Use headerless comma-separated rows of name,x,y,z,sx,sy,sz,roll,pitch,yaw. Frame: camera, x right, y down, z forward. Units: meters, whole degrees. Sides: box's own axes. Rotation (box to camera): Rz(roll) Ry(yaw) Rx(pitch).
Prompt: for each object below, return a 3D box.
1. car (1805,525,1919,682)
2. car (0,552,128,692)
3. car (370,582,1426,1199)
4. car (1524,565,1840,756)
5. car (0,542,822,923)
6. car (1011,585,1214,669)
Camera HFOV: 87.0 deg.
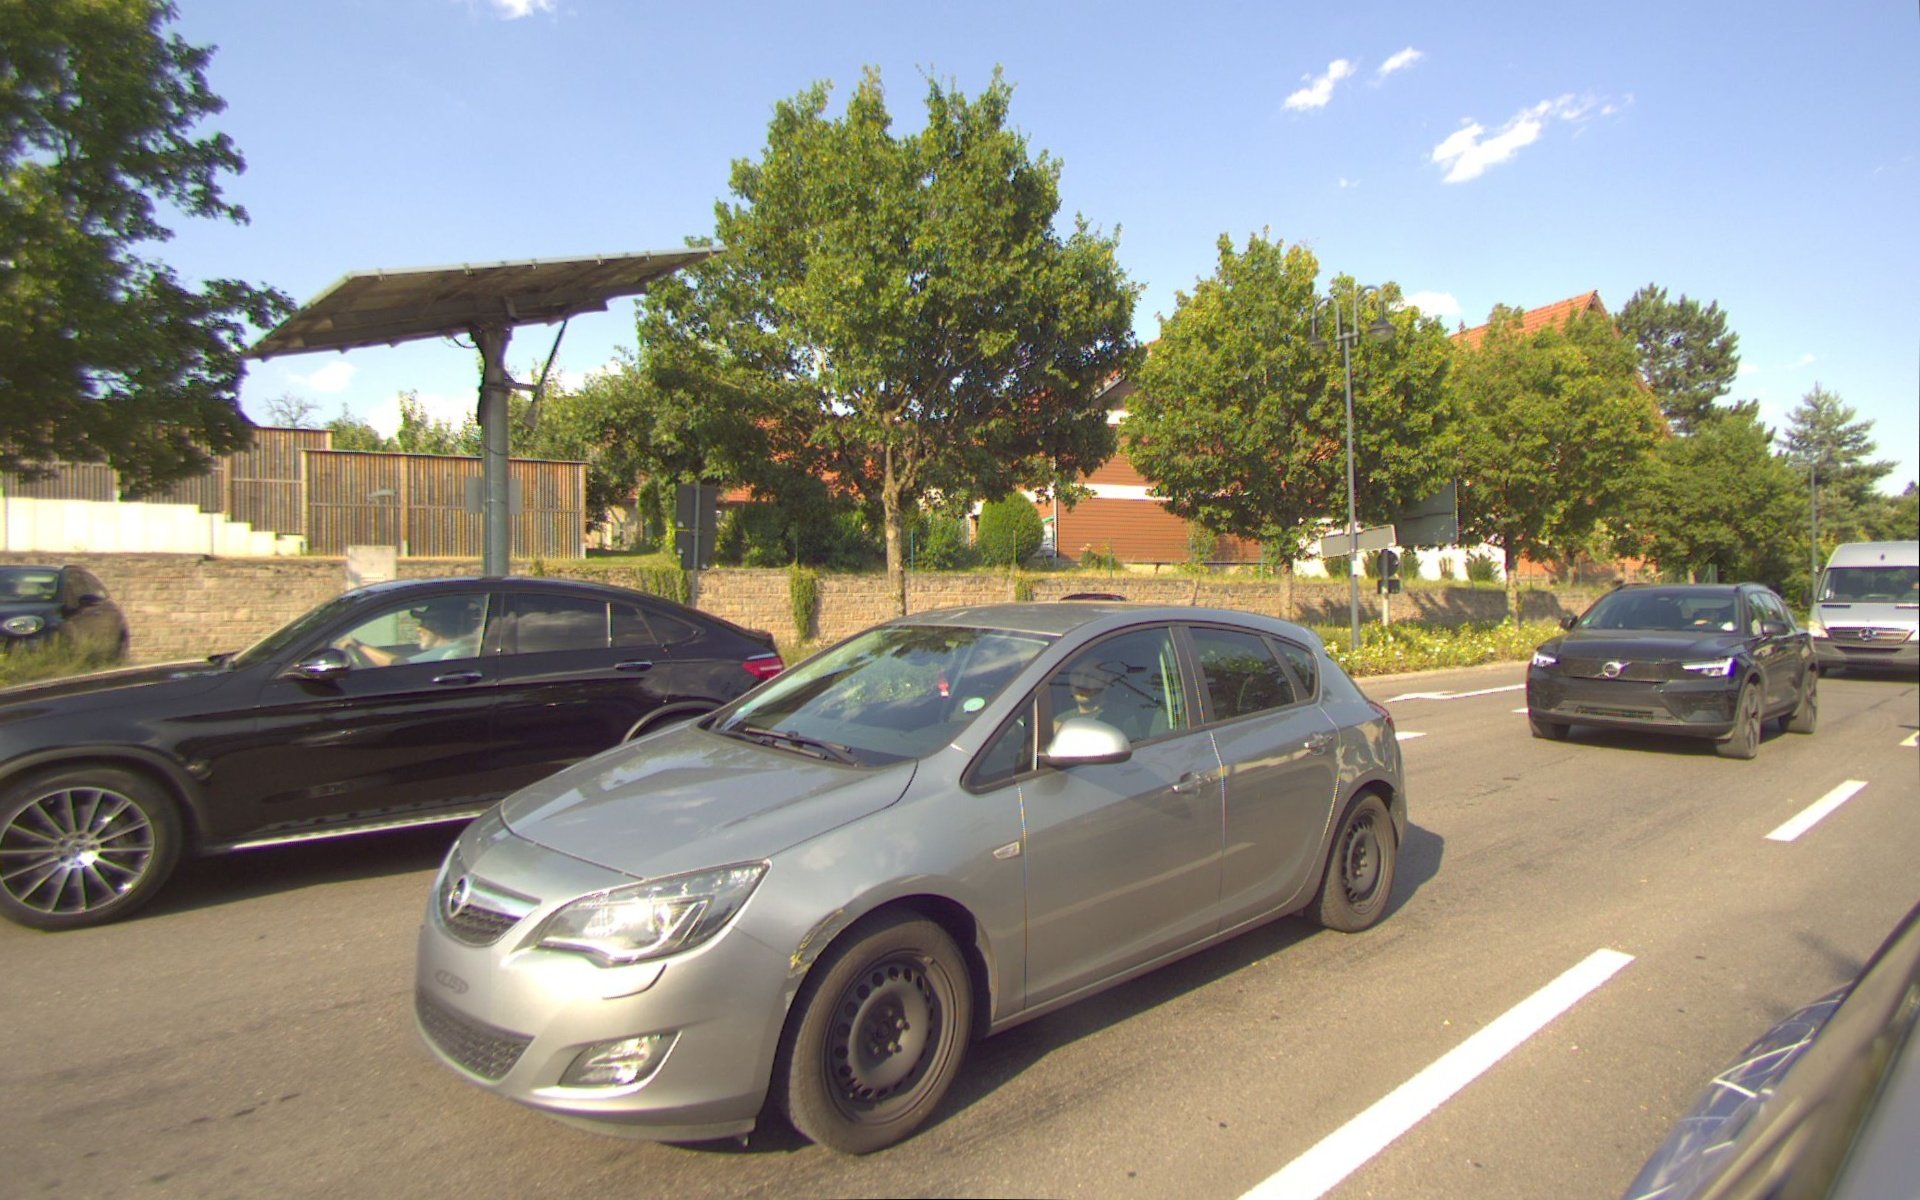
car,18.624,0.035,19.909,6.532,2.691,2.038,-1,0,-41
car,-11.639,0.237,12.219,1.644,1.475,4.085,0,0,-27
car,0.140,0.670,4.034,4.072,1.440,1.650,0,1,-42
car,7.652,0.504,10.596,3.985,1.626,1.791,0,0,-41
car,-3.206,0.548,6.044,4.413,1.586,1.843,0,-1,-39
car,2.831,0.469,19.622,1.714,1.449,4.002,0,0,-32
